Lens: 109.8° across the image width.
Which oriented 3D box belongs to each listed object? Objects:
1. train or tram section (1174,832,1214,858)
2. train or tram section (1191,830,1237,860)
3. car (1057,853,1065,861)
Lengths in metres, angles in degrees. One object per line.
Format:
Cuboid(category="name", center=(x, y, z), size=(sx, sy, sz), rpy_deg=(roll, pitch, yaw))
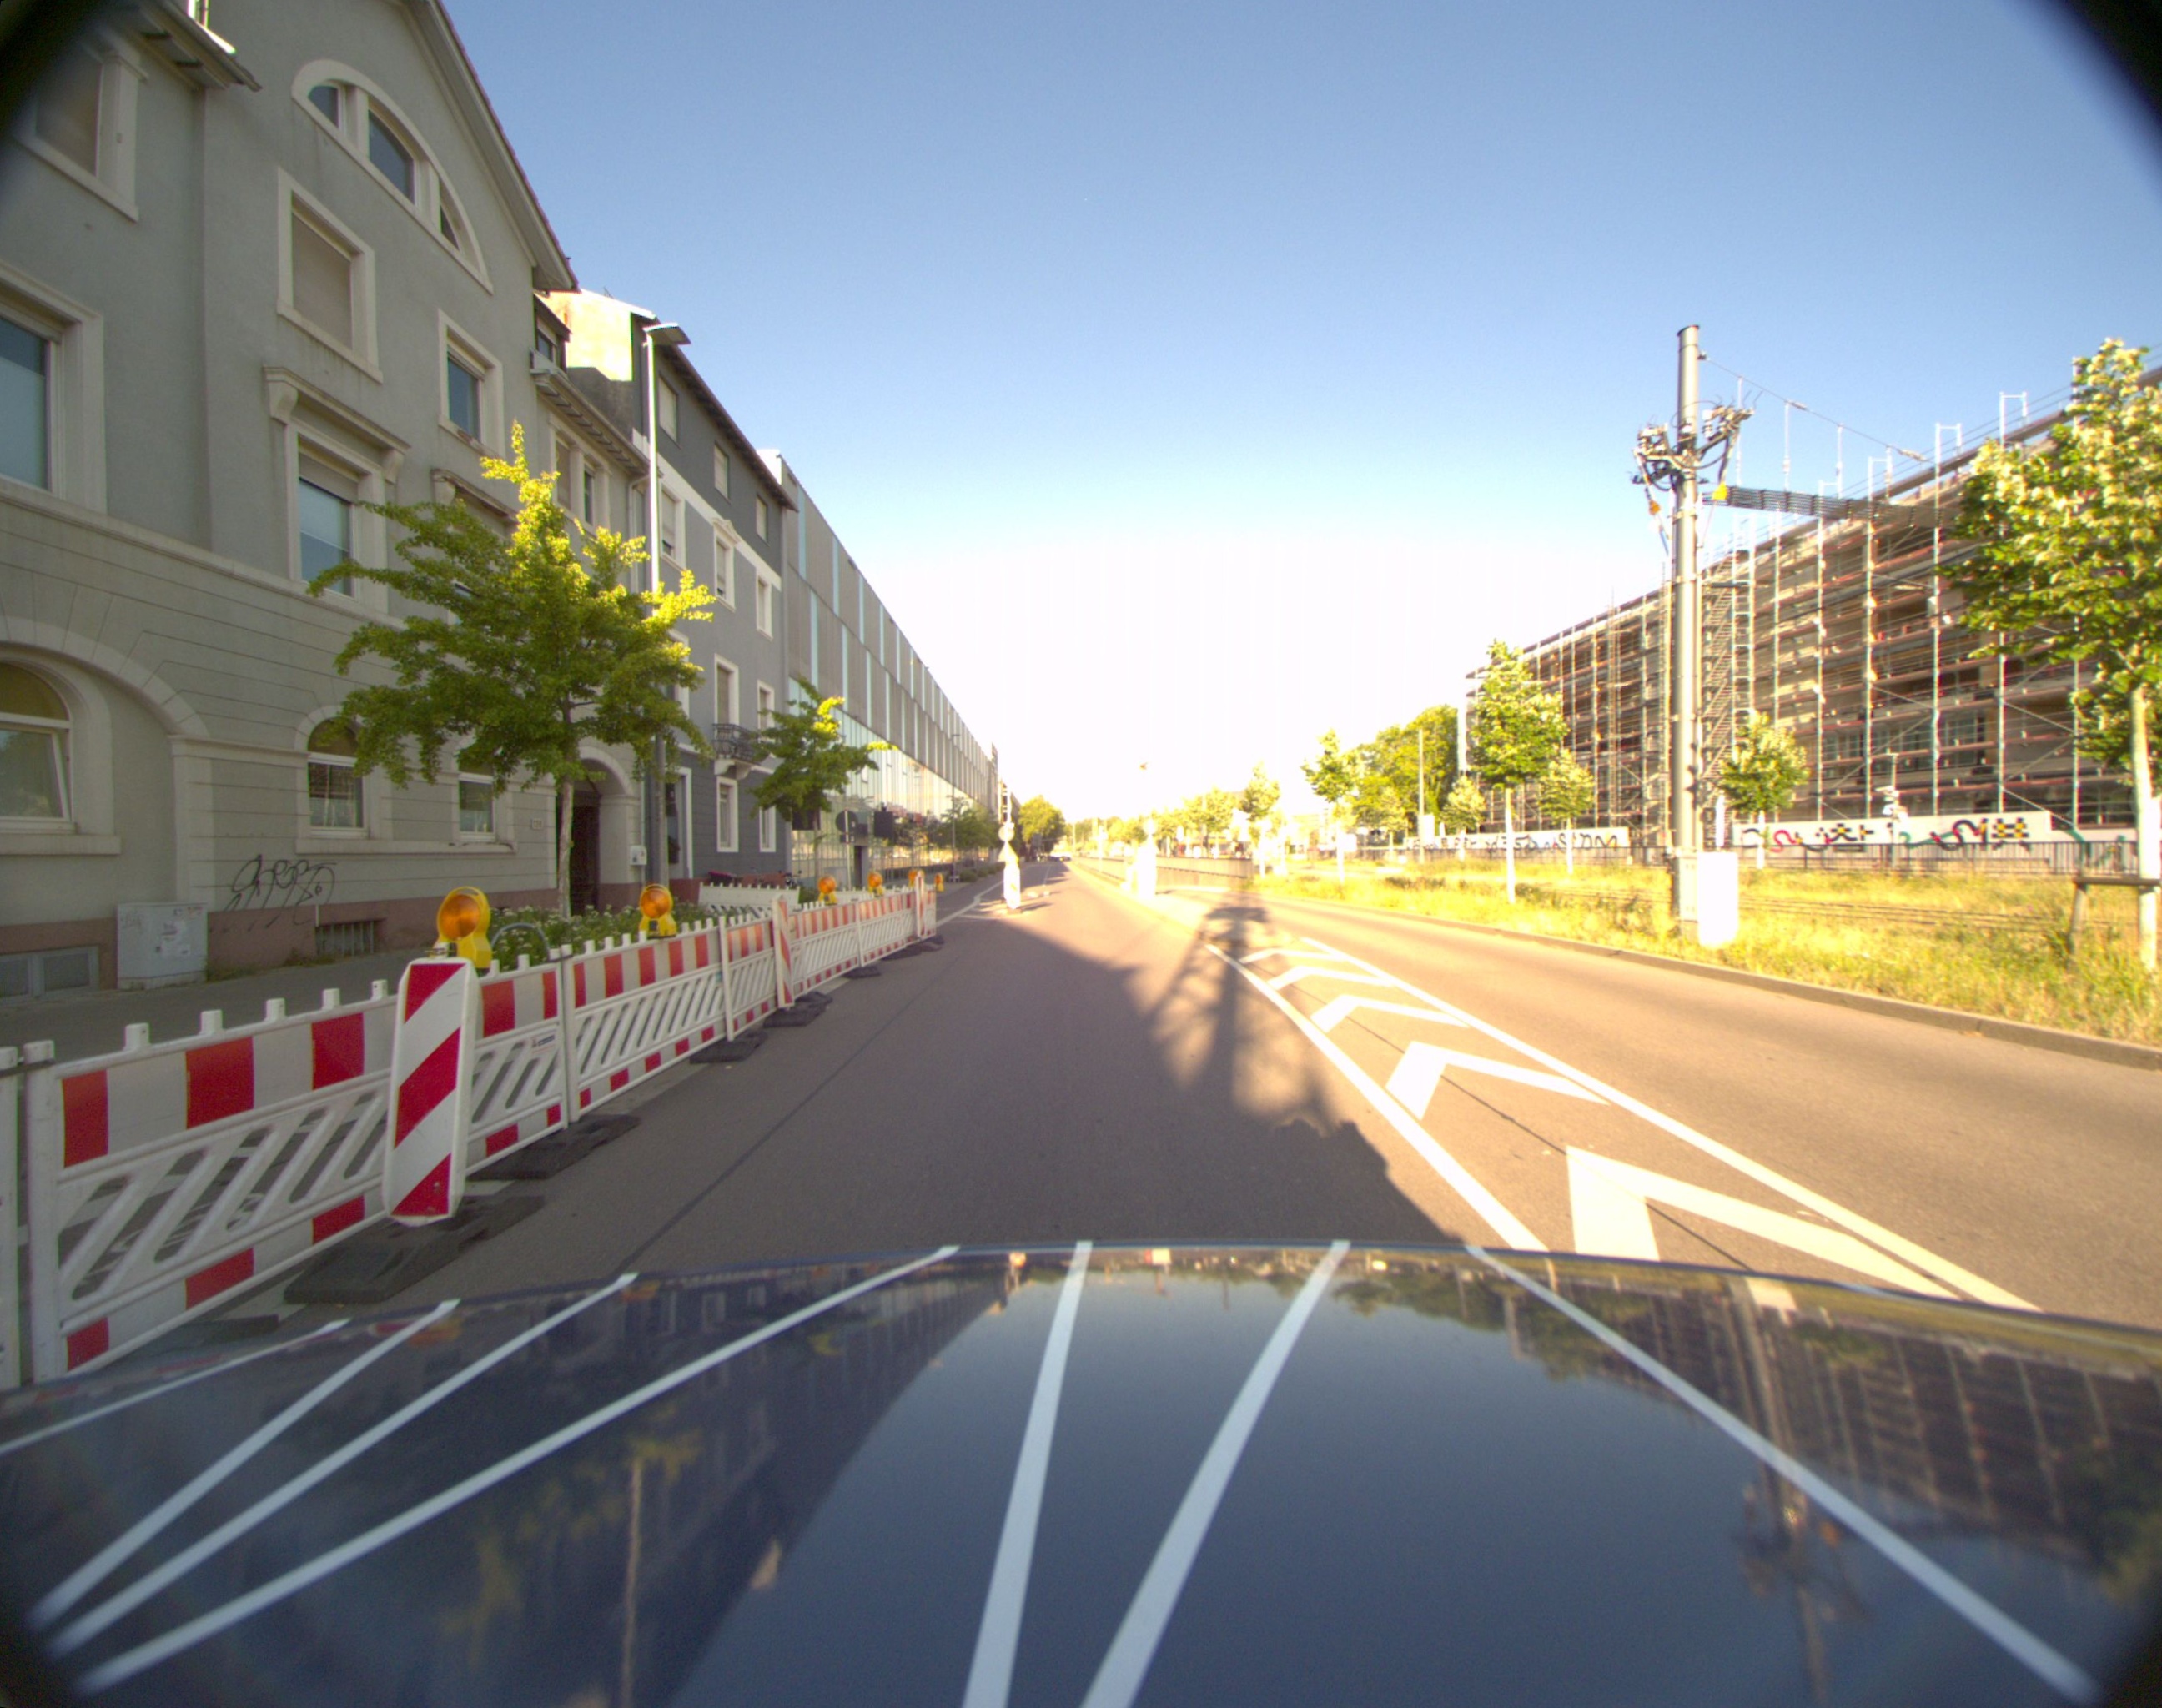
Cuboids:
Cuboid(category="train or tram section", center=(15.914, -1.226, 107.866), size=(2.954, 3.378, 14.761), rpy_deg=(-2, 1, -2))
Cuboid(category="train or tram section", center=(16.308, -1.083, 94.140), size=(2.954, 3.378, 12.630), rpy_deg=(-2, 1, -2))
Cuboid(category="car", center=(-4.901, 0.797, 187.329), size=(1.941, 2.002, 3.825), rpy_deg=(-1, 0, -3))
